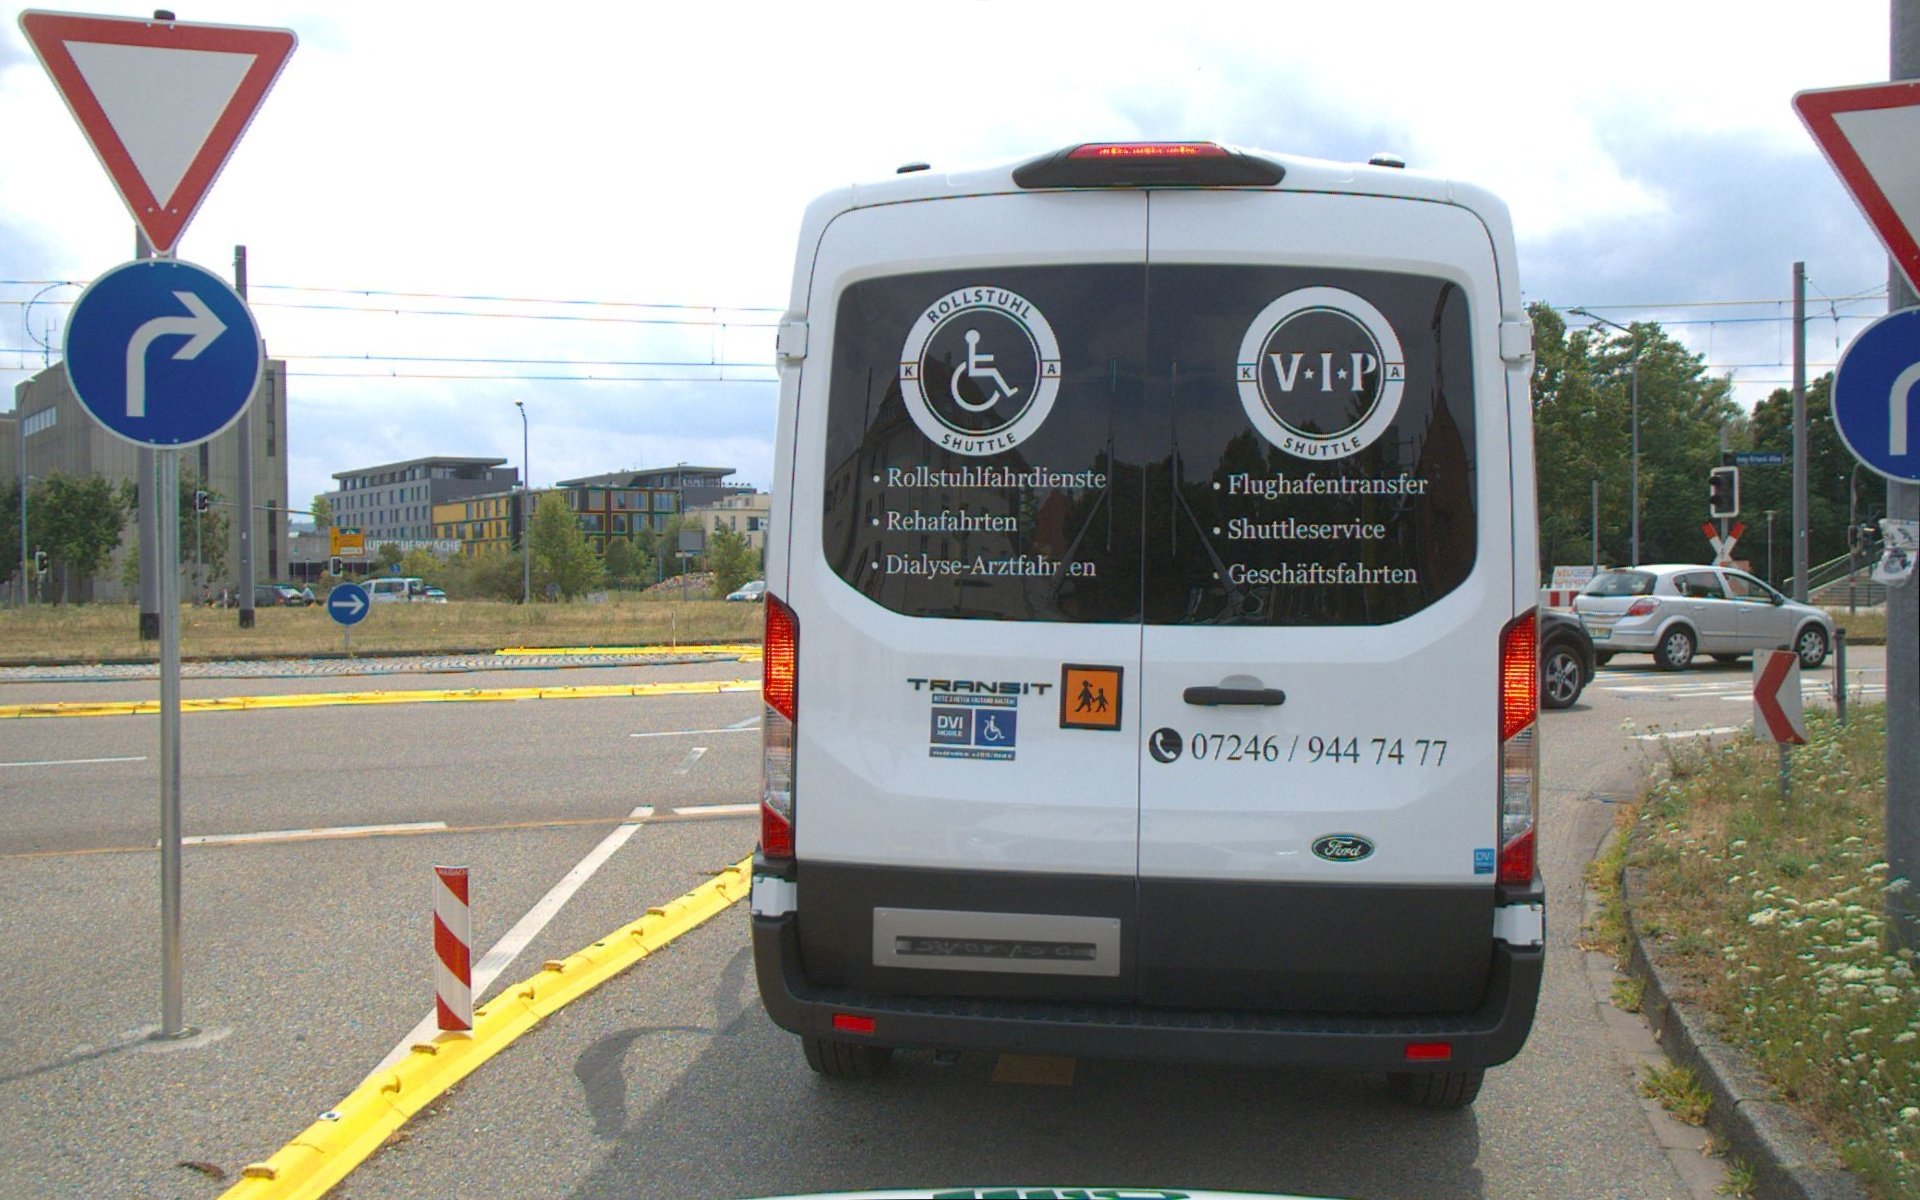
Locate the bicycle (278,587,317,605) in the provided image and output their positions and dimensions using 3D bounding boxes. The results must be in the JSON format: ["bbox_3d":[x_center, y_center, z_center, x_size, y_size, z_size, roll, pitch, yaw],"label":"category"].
[{"bbox_3d":[-34.000,-0.186,84.912,1.803,0.892,0.527,-1,1,-22],"label":"bicycle"}]

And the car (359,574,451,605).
[{"bbox_3d":[-26.767,-0.500,79.784,3.904,1.489,1.833,0,-1,21],"label":"car"}]

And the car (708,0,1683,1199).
[{"bbox_3d":[0.772,0.024,6.399,2.081,2.744,5.636,0,1,6],"label":"car"}]

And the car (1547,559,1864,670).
[{"bbox_3d":[10.827,0.169,24.041,4.185,1.488,1.819,-1,1,-21],"label":"car"}]

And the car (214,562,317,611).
[{"bbox_3d":[-29.888,-0.546,71.195,3.907,2.049,1.999,0,-1,25],"label":"car"}]

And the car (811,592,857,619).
[{"bbox_3d":[-7.192,0.326,94.814,1.788,1.489,4.003,0,0,9],"label":"car"}]

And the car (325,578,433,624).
[{"bbox_3d":[-26.668,0.043,75.918,4.255,2.049,2.002,0,-1,13],"label":"car"}]

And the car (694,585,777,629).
[{"bbox_3d":[-10.650,0.361,78.825,1.955,2.049,3.994,0,-1,28],"label":"car"}]

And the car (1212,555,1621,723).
[{"bbox_3d":[4.761,0.331,17.140,4.088,1.545,1.724,-1,1,-30],"label":"car"}]
